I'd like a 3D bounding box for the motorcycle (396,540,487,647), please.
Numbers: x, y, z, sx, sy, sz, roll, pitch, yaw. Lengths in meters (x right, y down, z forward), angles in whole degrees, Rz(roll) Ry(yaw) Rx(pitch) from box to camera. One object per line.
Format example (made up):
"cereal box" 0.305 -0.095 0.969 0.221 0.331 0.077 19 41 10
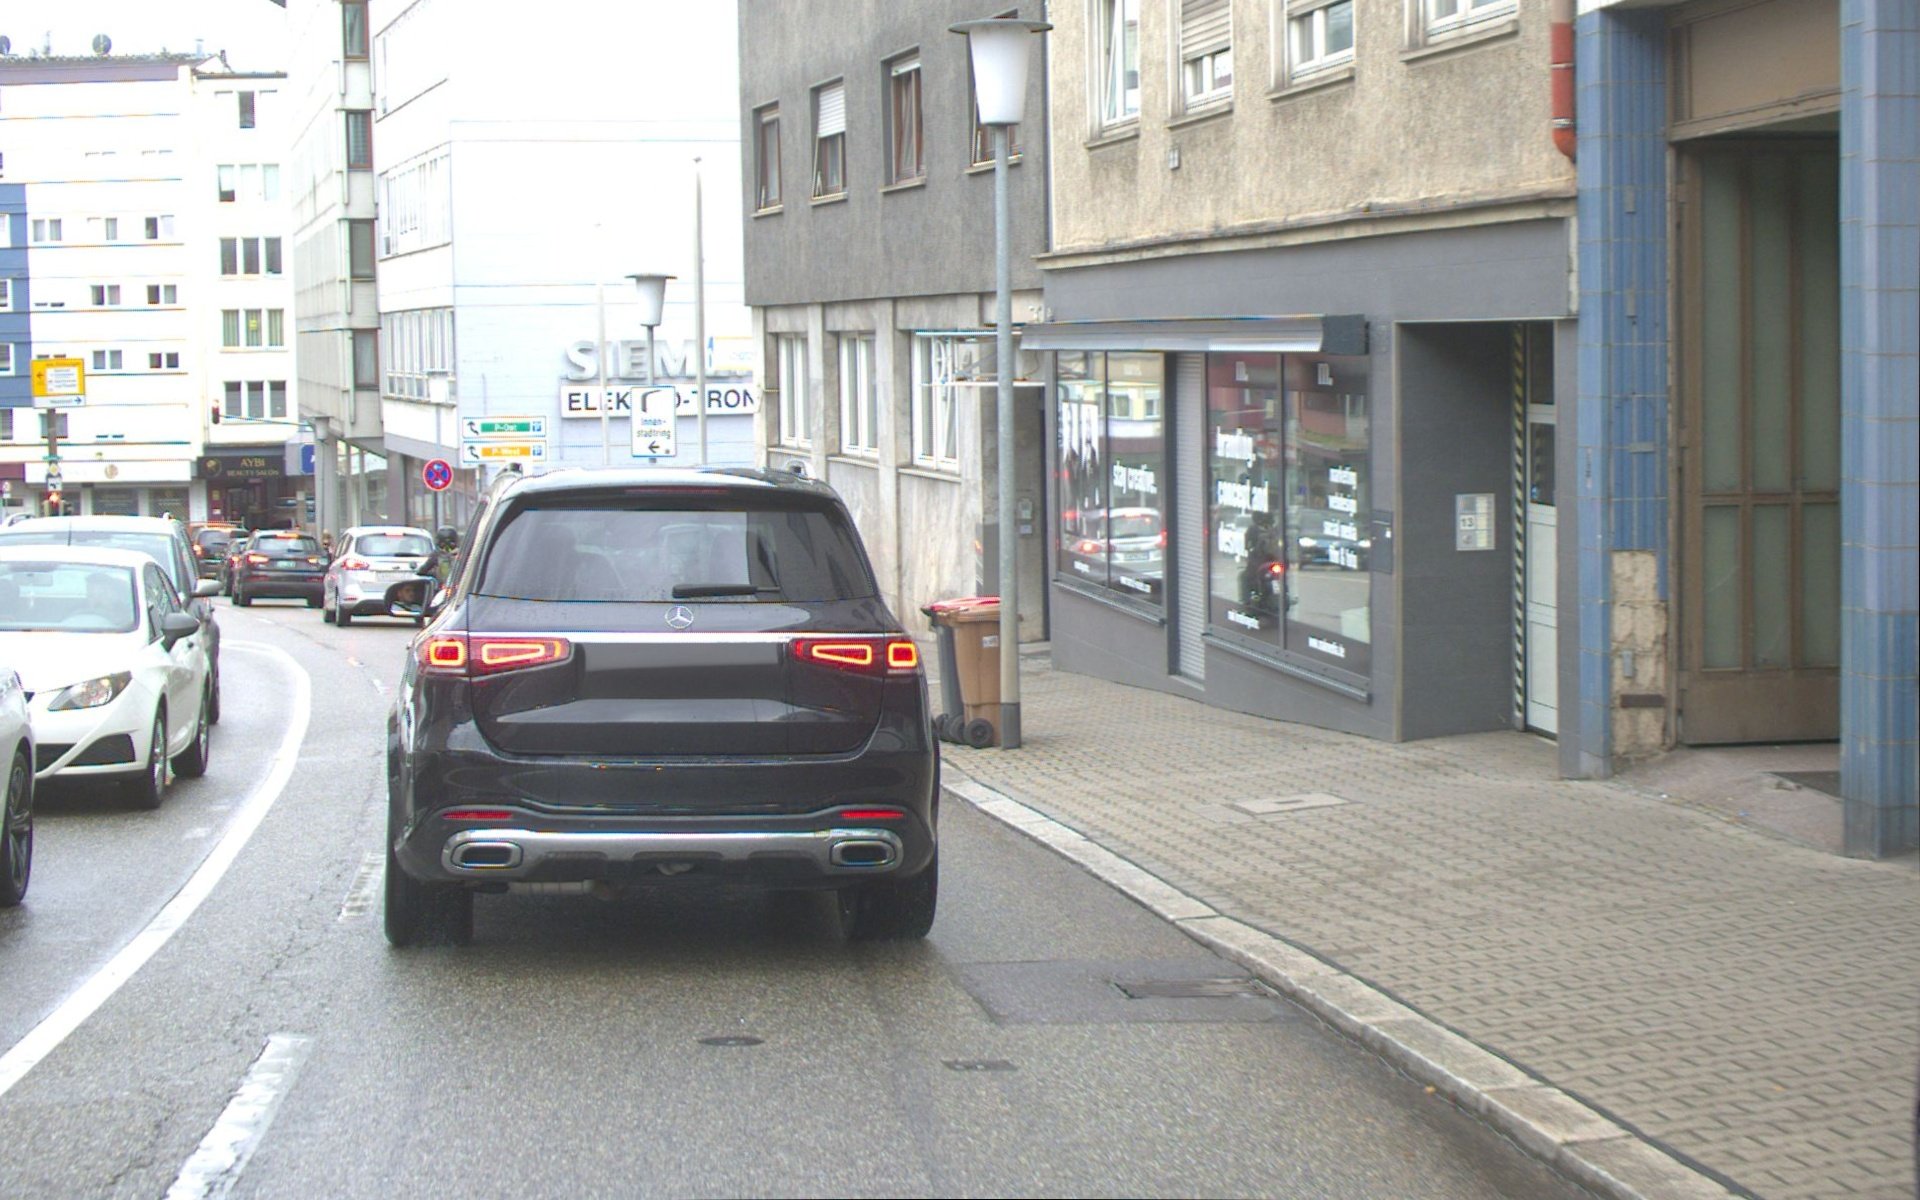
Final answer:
"motorcycle" -6.456 -0.105 42.692 0.867 1.053 2.940 -1 6 -13

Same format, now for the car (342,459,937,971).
"car" -1.362 0.332 14.133 2.020 1.733 4.748 0 1 -7

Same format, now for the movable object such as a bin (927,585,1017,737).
"movable object such as a bin" 0.077 0.396 22.659 0.524 0.947 0.538 0 5 -6

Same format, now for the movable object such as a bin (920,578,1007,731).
"movable object such as a bin" 0.021 0.364 23.224 0.524 0.977 0.538 0 5 -6

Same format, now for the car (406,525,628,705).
"car" -4.180 0.104 31.958 1.830 1.456 4.380 -3 1 -9

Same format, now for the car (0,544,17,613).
"car" -21.660 -0.486 74.698 1.698 1.475 4.292 1 1 -8

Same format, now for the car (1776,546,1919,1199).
"car" 2.613 0.589 4.268 1.763 1.387 4.380 -3 1 -5

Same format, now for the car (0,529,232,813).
"car" -5.329 0.337 20.103 1.698 1.475 4.292 1 1 -7

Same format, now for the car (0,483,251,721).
"car" -6.628 -0.018 27.125 1.806 1.699 4.563 1 1 -9

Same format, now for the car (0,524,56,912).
"car" -4.574 0.489 12.573 1.806 1.516 4.563 -1 1 -7

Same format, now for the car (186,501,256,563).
"car" -19.309 -1.788 89.797 1.522 1.543 3.108 -1 2 -17

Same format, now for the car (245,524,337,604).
"car" -13.729 -0.755 70.466 1.522 1.543 3.108 -1 2 -17

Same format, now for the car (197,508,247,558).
"car" -23.550 -2.143 109.629 1.522 1.543 3.108 -1 2 -13

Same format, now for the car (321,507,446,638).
"car" -9.263 -0.478 55.053 1.753 1.774 3.577 -1 6 -13

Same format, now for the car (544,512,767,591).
"car" -5.917 -0.918 66.911 3.987 1.489 1.733 0 0 -33

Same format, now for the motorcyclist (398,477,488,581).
"motorcyclist" -6.412 -0.904 42.540 0.867 1.053 2.940 -1 6 -13
